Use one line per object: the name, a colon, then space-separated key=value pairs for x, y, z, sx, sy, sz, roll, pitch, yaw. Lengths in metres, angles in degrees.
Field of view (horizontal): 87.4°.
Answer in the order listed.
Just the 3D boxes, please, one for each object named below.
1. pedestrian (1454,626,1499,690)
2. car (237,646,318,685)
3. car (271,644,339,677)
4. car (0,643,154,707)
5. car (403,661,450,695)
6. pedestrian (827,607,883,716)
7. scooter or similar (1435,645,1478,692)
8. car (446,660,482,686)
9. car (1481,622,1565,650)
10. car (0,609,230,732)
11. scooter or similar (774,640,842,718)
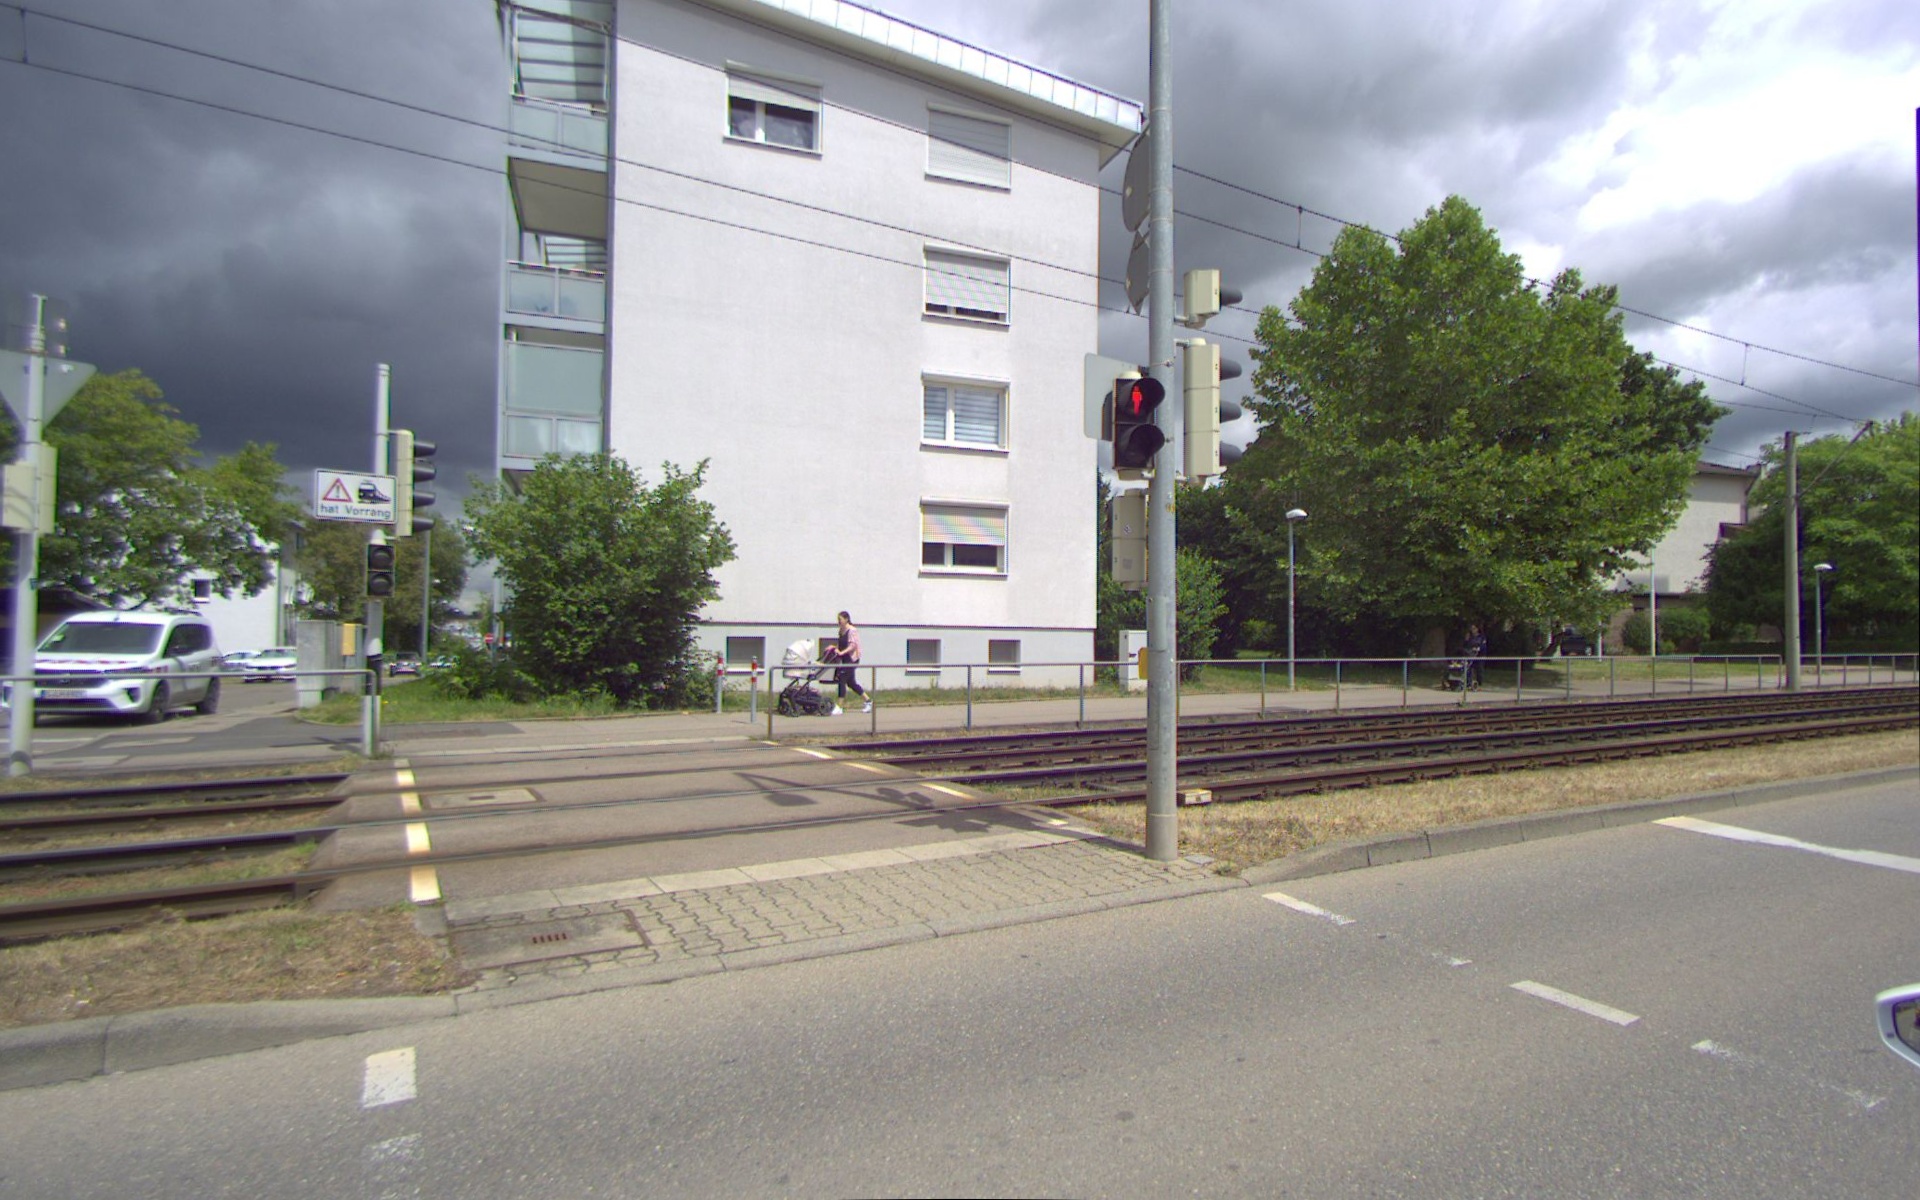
pedestrian: x=12.896 y=1.433 z=25.073 sx=0.864 sy=1.560 sz=0.609 roll=2 pitch=-1 yaw=-31
car: x=-26.318 y=2.505 z=38.861 sx=1.895 sy=1.312 sz=3.976 roll=2 pitch=-2 yaw=-24
car: x=-29.018 y=2.675 z=44.626 sx=1.895 sy=1.312 sz=3.976 roll=2 pitch=-2 yaw=-24
car: x=-19.645 y=1.597 z=22.178 sx=1.895 sy=1.186 sz=3.976 roll=2 pitch=-2 yaw=-24
car: x=-33.002 y=4.796 z=62.227 sx=1.970 sy=2.039 sz=3.982 roll=2 pitch=-4 yaw=-21
pedestrian: x=-1.690 y=0.971 z=16.132 sx=0.671 sy=1.715 sz=0.642 roll=2 pitch=-1 yaw=-29
scooter or similar: x=12.164 y=1.672 z=24.624 sx=0.811 sy=1.130 sz=0.601 roll=2 pitch=-1 yaw=-31
car: x=-36.161 y=5.292 z=73.290 sx=1.971 sy=1.799 sz=3.981 roll=2 pitch=-3 yaw=-21
car: x=35.738 y=2.273 z=63.763 sx=4.398 sy=1.595 sz=1.996 roll=2 pitch=0 yaw=-11
car: x=-13.774 y=1.076 z=16.609 sx=1.784 sy=1.752 sz=4.268 roll=2 pitch=-2 yaw=-23
scooter or similar: x=-2.381 y=1.222 z=15.743 sx=0.881 sy=1.178 sz=0.605 roll=2 pitch=-1 yaw=-29
